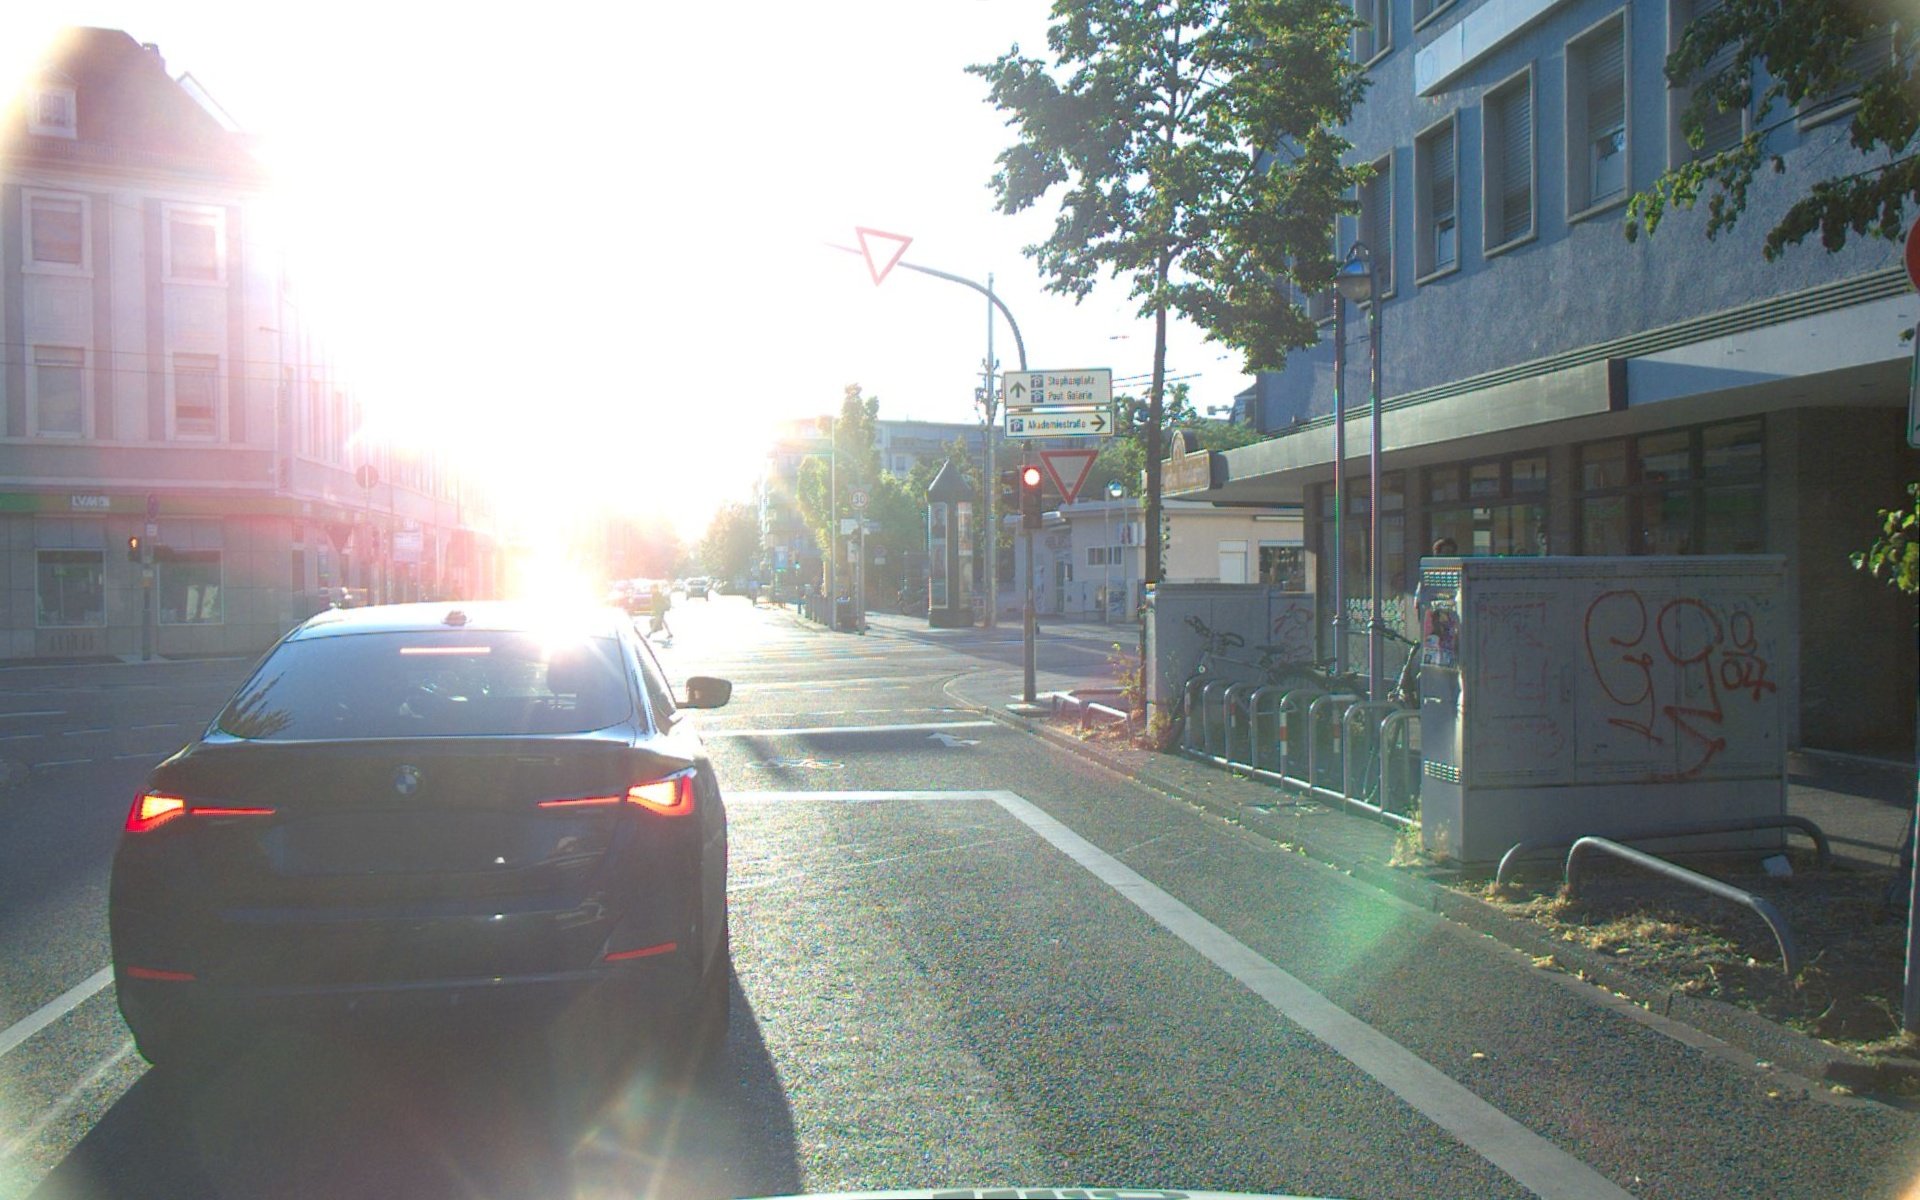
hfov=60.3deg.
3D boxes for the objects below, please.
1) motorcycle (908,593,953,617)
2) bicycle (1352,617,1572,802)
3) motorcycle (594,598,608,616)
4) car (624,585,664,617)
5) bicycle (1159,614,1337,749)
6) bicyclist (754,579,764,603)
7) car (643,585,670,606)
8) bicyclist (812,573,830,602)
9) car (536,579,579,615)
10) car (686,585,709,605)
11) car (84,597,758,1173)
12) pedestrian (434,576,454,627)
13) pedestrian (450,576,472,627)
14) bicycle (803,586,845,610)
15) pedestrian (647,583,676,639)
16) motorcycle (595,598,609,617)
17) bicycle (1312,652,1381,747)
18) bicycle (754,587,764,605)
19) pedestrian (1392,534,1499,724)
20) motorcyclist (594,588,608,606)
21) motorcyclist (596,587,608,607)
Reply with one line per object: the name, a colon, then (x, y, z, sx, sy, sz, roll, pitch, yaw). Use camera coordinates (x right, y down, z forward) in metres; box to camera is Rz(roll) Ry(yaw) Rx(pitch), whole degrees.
motorcycle: (-1.205, 0.190, 67.887, 1.644, 0.955, 0.851, -1, 1, -20)
bicycle: (3.467, 0.751, 11.439, 1.413, 1.241, 0.383, 1, 0, -8)
motorcycle: (-19.106, 0.364, 88.037, 0.564, 0.931, 2.196, 1, 0, -8)
car: (-15.784, 0.019, 82.791, 1.784, 1.545, 3.992, -1, 1, -9)
bicycle: (2.645, 0.738, 15.188, 1.582, 1.191, 0.318, -1, 0, -7)
bicyclist: (-13.016, -0.584, 107.115, 0.540, 1.507, 0.721, 1, 0, -10)
car: (-22.583, -0.342, 123.039, 1.784, 1.545, 3.992, -1, 1, -9)
bicyclist: (-7.488, -0.690, 88.867, 0.865, 1.532, 0.612, 1, 0, 3)
car: (-21.092, -0.159, 86.811, 1.784, 1.819, 3.992, -1, 1, -9)
car: (-21.644, -0.418, 136.461, 1.784, 1.545, 3.992, -1, 1, -9)
car: (-1.748, 0.728, 6.461, 1.705, 1.453, 4.214, 0, 0, -10)
pedestrian: (-19.739, 0.053, 63.298, 0.631, 1.909, 0.630, 1, 0, -9)
pedestrian: (-19.003, 0.066, 62.992, 0.664, 1.909, 0.616, 1, 0, -9)
bicycle: (-7.279, -0.100, 88.860, 2.166, 1.223, 0.620, 1, 0, 2)
pedestrian: (-8.426, 0.308, 46.732, 0.722, 1.555, 0.470, 1, 0, -21)
motorcycle: (-18.170, 0.396, 83.935, 0.564, 0.931, 2.196, 1, 0, -8)
bicycle: (3.569, 0.904, 15.331, 0.245, 0.810, 1.114, 1, 0, -7)
bicycle: (-13.007, -0.239, 107.049, 0.540, 1.179, 2.139, 1, 0, -10)
pedestrian: (4.927, 0.280, 16.814, 0.820, 1.874, 0.677, -1, 0, -9)
motorcyclist: (-19.066, -0.142, 87.908, 0.564, 0.931, 2.196, 1, 0, -8)
motorcyclist: (-18.116, -0.143, 83.735, 0.564, 1.013, 0.701, 1, 0, -9)
